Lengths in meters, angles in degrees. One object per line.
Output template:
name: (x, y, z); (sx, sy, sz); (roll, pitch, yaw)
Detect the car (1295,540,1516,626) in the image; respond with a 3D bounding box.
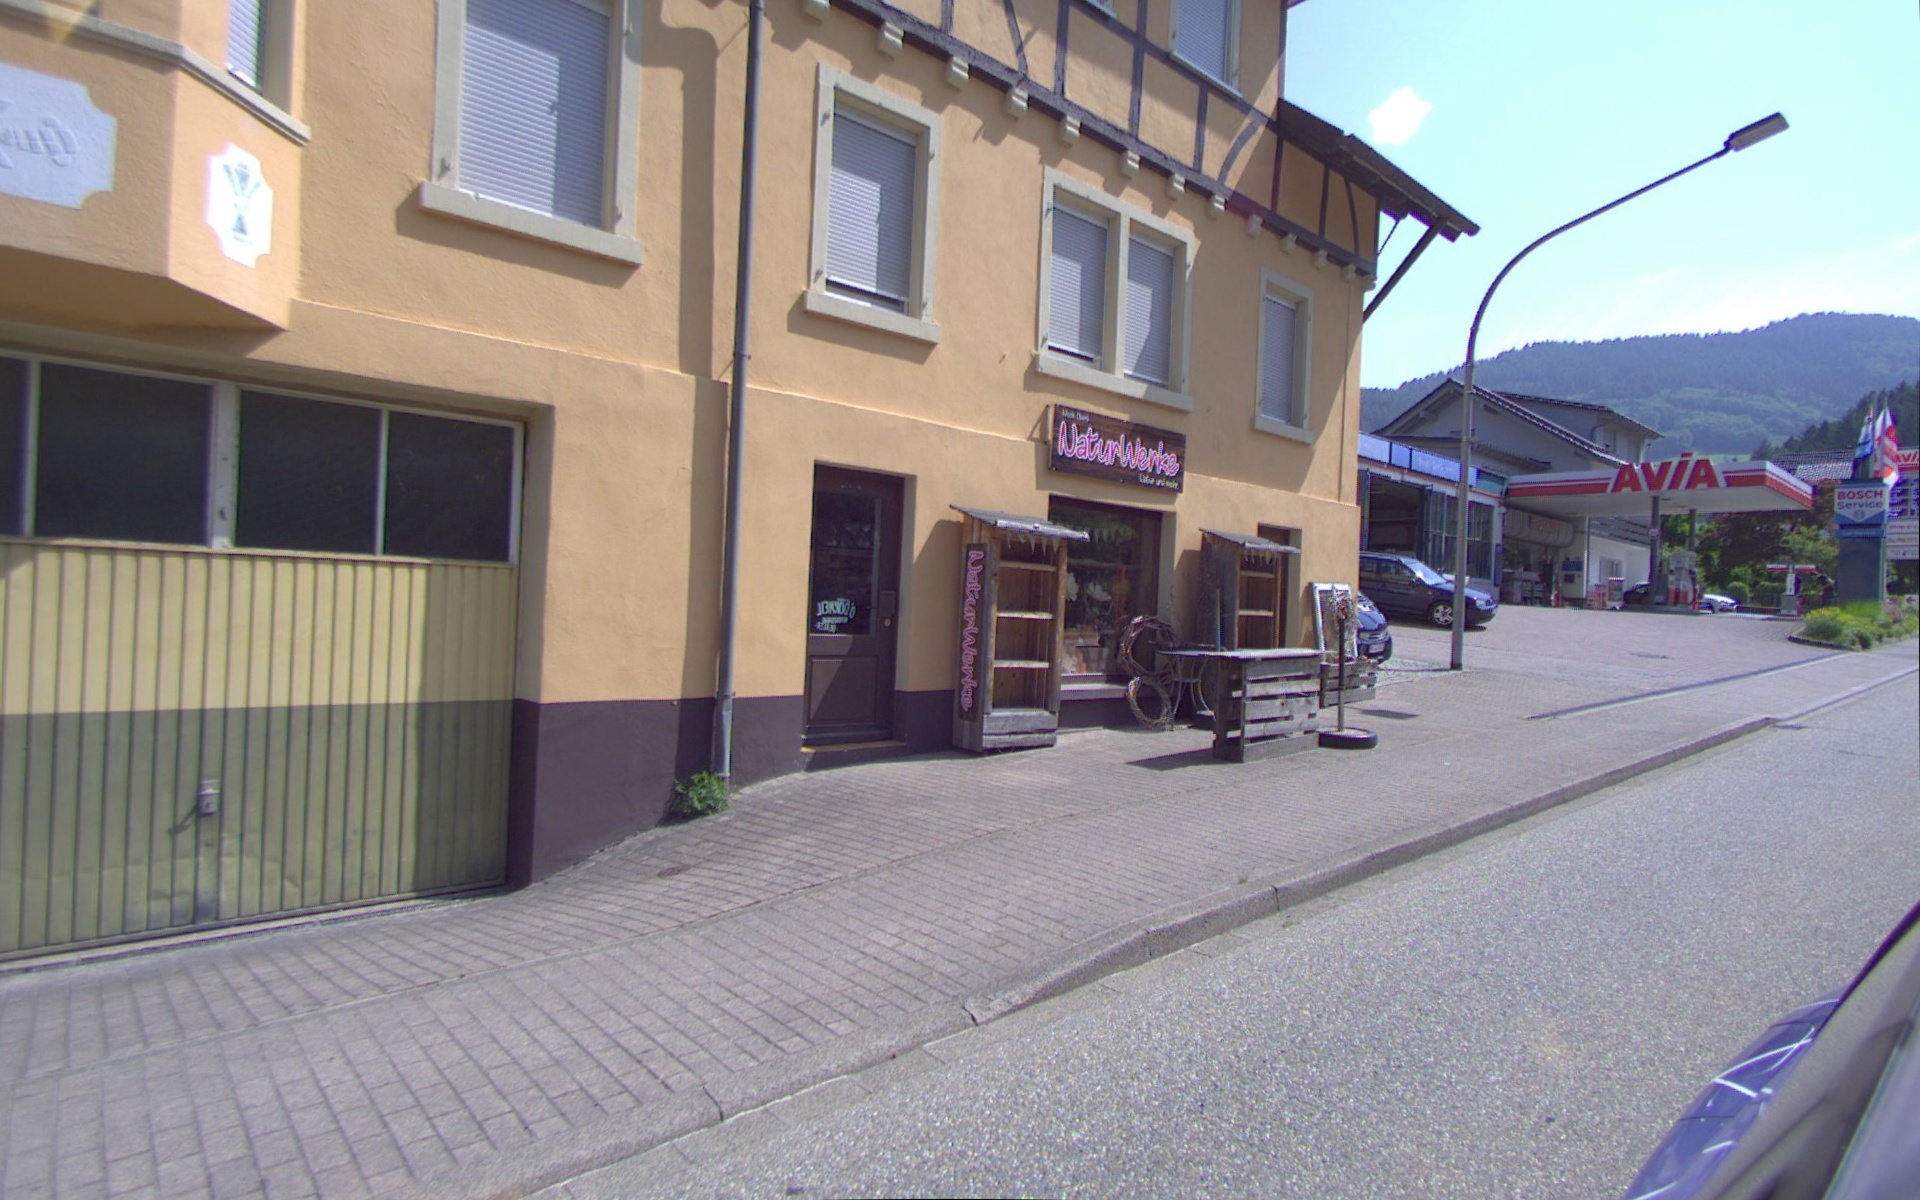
car: (10.343, -0.472, 23.687); (4.316, 1.563, 1.774); (7, 6, 41)

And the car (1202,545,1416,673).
car: (5.324, 0.059, 15.591); (1.402, 1.553, 2.658); (-2, 8, -44)

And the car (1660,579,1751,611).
car: (34.344, -0.244, 46.664); (1.312, 1.158, 3.080); (-1, 6, -41)

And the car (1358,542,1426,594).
car: (15.812, -1.212, 36.953); (1.594, 1.707, 3.887); (6, 6, 32)

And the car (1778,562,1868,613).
car: (30.753, -0.467, 36.050); (3.842, 1.595, 1.697); (-1, 6, -40)
